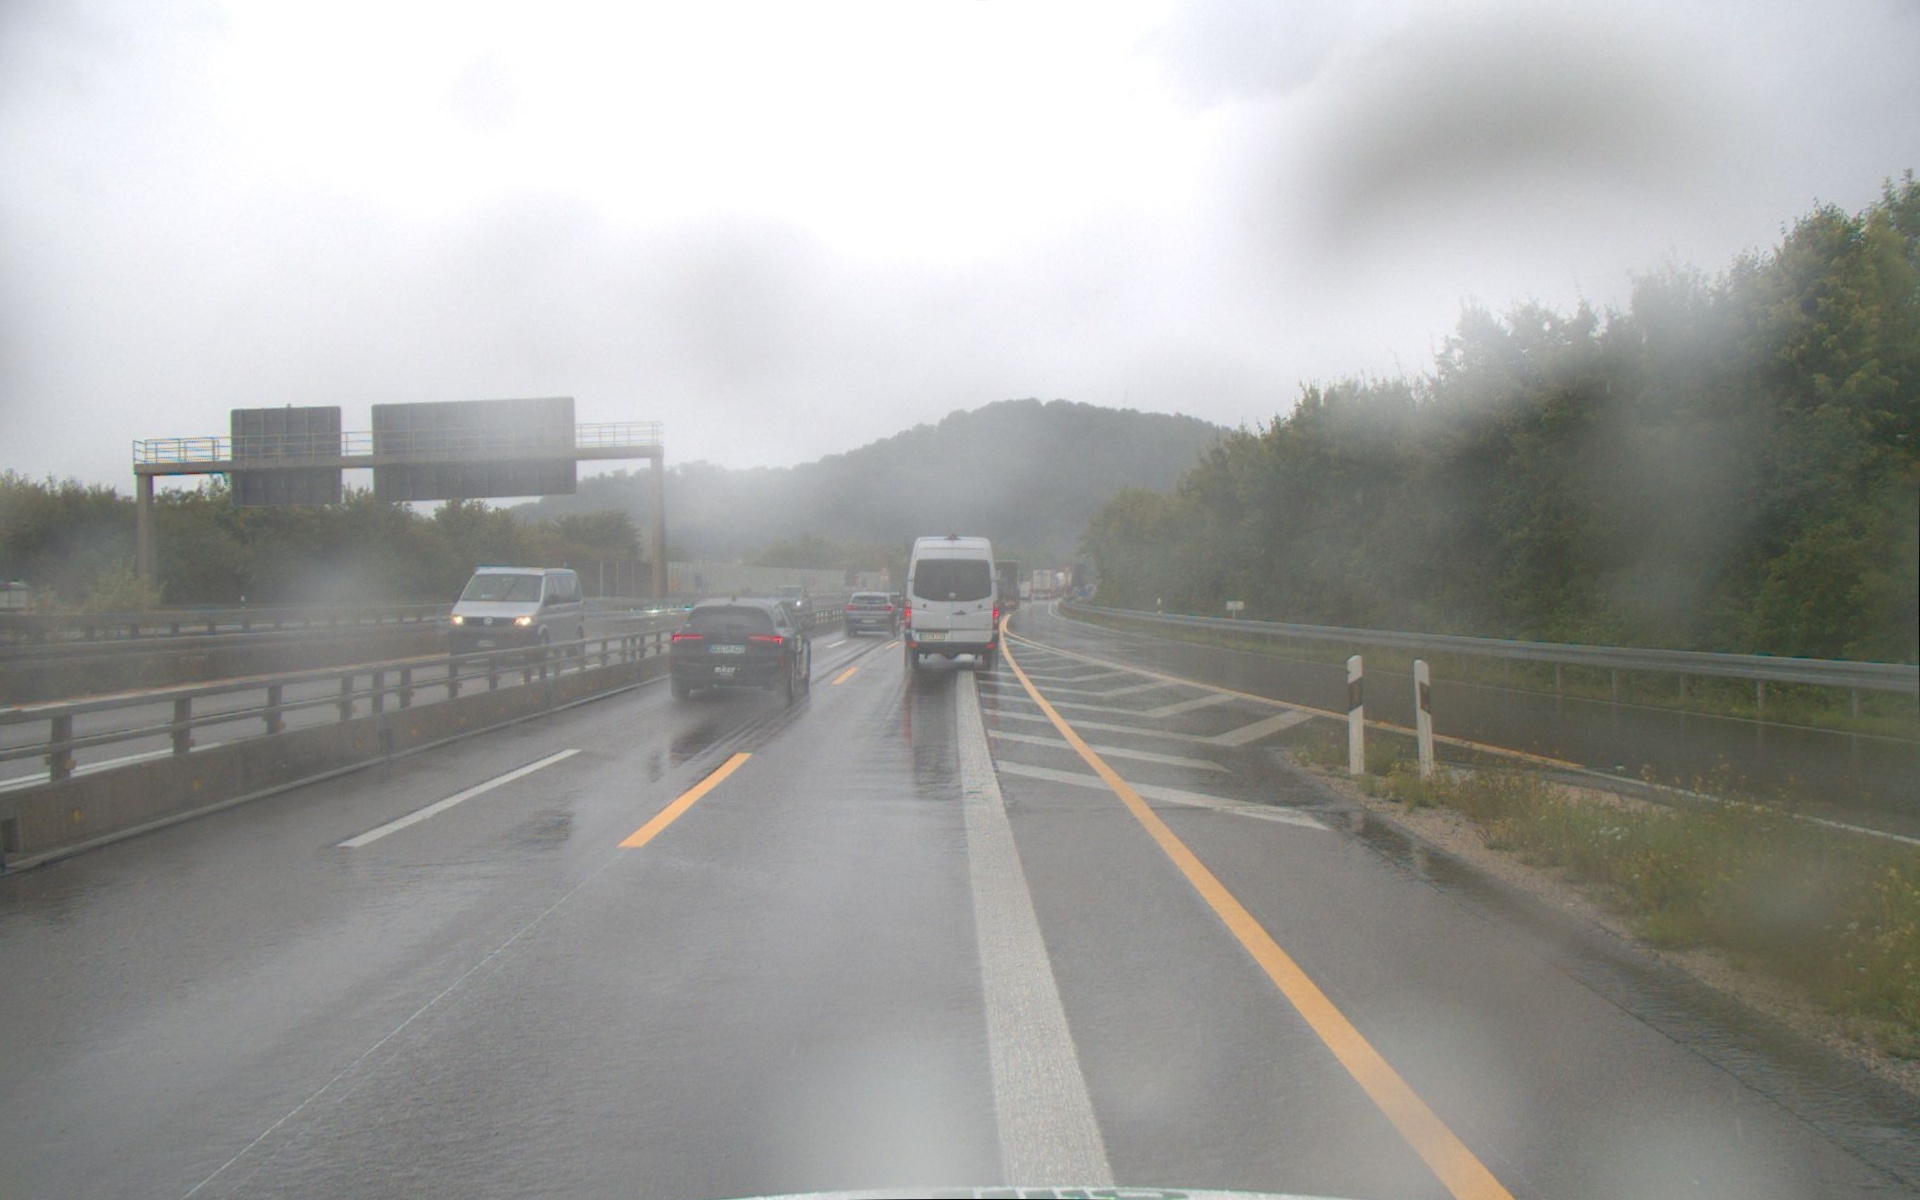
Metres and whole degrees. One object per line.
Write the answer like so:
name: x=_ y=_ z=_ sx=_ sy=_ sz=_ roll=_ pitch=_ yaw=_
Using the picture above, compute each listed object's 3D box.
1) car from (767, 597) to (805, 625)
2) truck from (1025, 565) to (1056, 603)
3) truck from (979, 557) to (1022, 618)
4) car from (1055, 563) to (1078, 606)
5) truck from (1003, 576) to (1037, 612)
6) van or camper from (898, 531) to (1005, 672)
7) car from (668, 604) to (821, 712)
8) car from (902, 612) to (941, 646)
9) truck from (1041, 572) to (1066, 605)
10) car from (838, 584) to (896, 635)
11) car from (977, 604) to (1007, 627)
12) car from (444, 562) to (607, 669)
car: x=-8.759 y=0.555 z=83.398 sx=1.598 sy=1.374 sz=3.654 roll=0 pitch=0 yaw=-1
truck: x=10.978 y=-2.085 z=224.107 sx=3.846 sy=4.868 sz=9.911 roll=1 pitch=-1 yaw=4
truck: x=3.380 y=-0.975 z=140.422 sx=3.253 sy=4.868 sz=9.904 roll=1 pitch=-1 yaw=-1
car: x=10.742 y=-1.521 z=166.811 sx=2.015 sy=4.265 sz=6.747 roll=0 pitch=0 yaw=2
truck: x=6.690 y=-0.607 z=184.890 sx=3.253 sy=3.827 sz=9.904 roll=1 pitch=-1 yaw=-1
van or camper: x=-0.167 y=0.047 z=34.920 sx=2.095 sy=2.769 sz=4.648 roll=0 pitch=0 yaw=0
car: x=-3.148 y=0.803 z=24.993 sx=1.900 sy=1.452 sz=4.757 roll=1 pitch=0 yaw=-3
car: x=-1.797 y=1.349 z=78.210 sx=1.814 sy=1.527 sz=3.999 roll=0 pitch=0 yaw=0
truck: x=14.885 y=-1.769 z=262.527 sx=3.846 sy=4.868 sz=9.911 roll=1 pitch=-1 yaw=4
car: x=-3.210 y=0.331 z=57.811 sx=1.829 sy=1.688 sz=3.987 roll=0 pitch=0 yaw=0
car: x=1.735 y=0.845 z=90.942 sx=1.357 sy=1.278 sz=3.119 roll=0 pitch=0 yaw=-5
car: x=-9.137 y=0.333 z=35.336 sx=1.869 sy=2.049 sz=5.828 roll=1 pitch=-1 yaw=0
